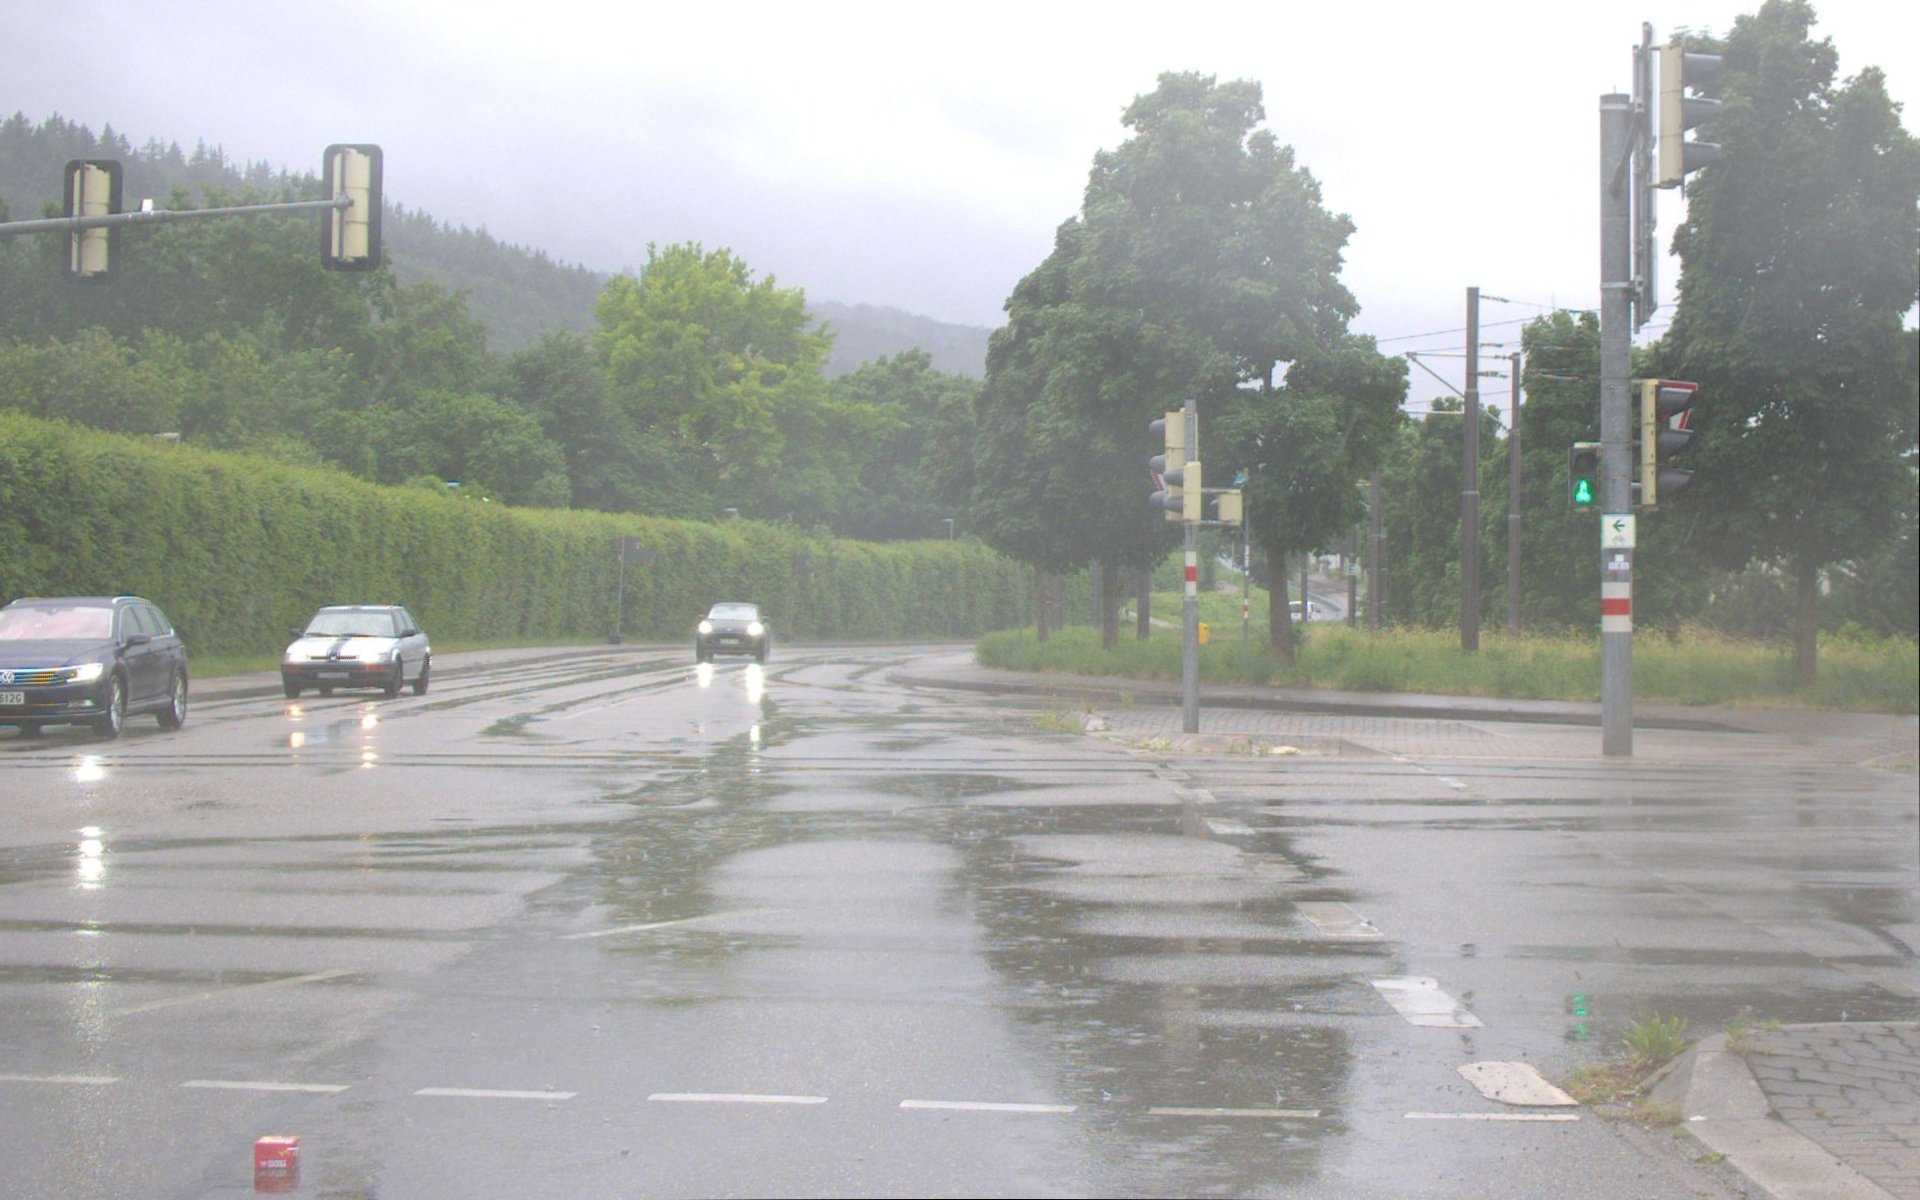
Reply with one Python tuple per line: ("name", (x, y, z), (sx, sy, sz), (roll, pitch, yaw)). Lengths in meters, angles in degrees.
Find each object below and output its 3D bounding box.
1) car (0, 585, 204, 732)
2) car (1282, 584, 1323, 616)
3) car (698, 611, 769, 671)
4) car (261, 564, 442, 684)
("car", (-9.453, 0.574, 36.660), (1.708, 1.461, 4.453), (0, 0, 1))
("car", (20.784, 0.005, 208.422), (1.954, 1.897, 4.117), (0, 1, 13))
("car", (-6.029, 1.080, 91.883), (1.784, 1.499, 4.061), (0, 1, -2))
("car", (-9.150, 0.329, 51.977), (2.036, 1.702, 4.066), (1, 1, -1))
